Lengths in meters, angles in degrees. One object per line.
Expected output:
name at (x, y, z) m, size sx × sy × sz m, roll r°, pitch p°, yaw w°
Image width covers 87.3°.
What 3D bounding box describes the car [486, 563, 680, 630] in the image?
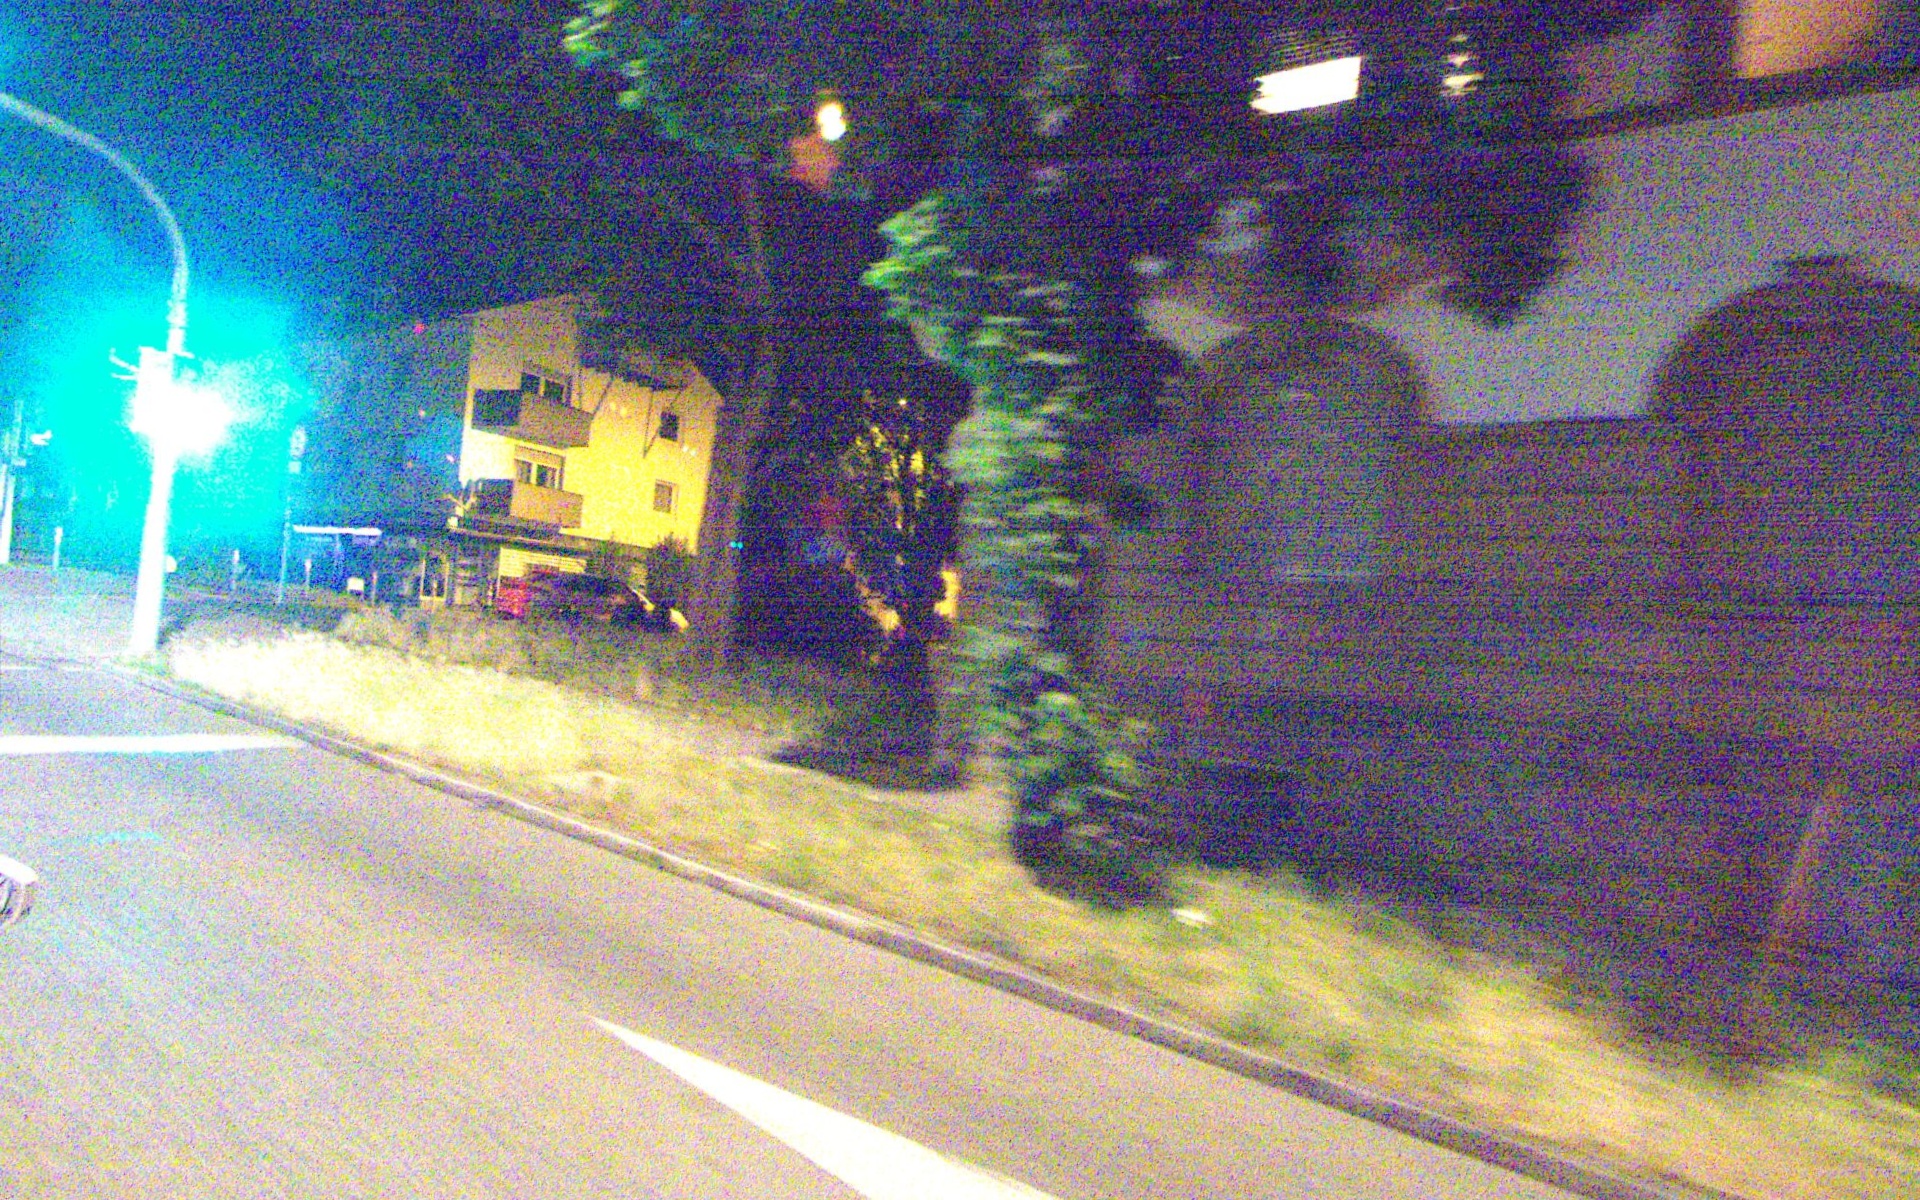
car at (-9.182, -0.052, 24.762) m, size 1.740 × 1.297 × 4.125 m, roll 6°, pitch 1°, yaw 39°
